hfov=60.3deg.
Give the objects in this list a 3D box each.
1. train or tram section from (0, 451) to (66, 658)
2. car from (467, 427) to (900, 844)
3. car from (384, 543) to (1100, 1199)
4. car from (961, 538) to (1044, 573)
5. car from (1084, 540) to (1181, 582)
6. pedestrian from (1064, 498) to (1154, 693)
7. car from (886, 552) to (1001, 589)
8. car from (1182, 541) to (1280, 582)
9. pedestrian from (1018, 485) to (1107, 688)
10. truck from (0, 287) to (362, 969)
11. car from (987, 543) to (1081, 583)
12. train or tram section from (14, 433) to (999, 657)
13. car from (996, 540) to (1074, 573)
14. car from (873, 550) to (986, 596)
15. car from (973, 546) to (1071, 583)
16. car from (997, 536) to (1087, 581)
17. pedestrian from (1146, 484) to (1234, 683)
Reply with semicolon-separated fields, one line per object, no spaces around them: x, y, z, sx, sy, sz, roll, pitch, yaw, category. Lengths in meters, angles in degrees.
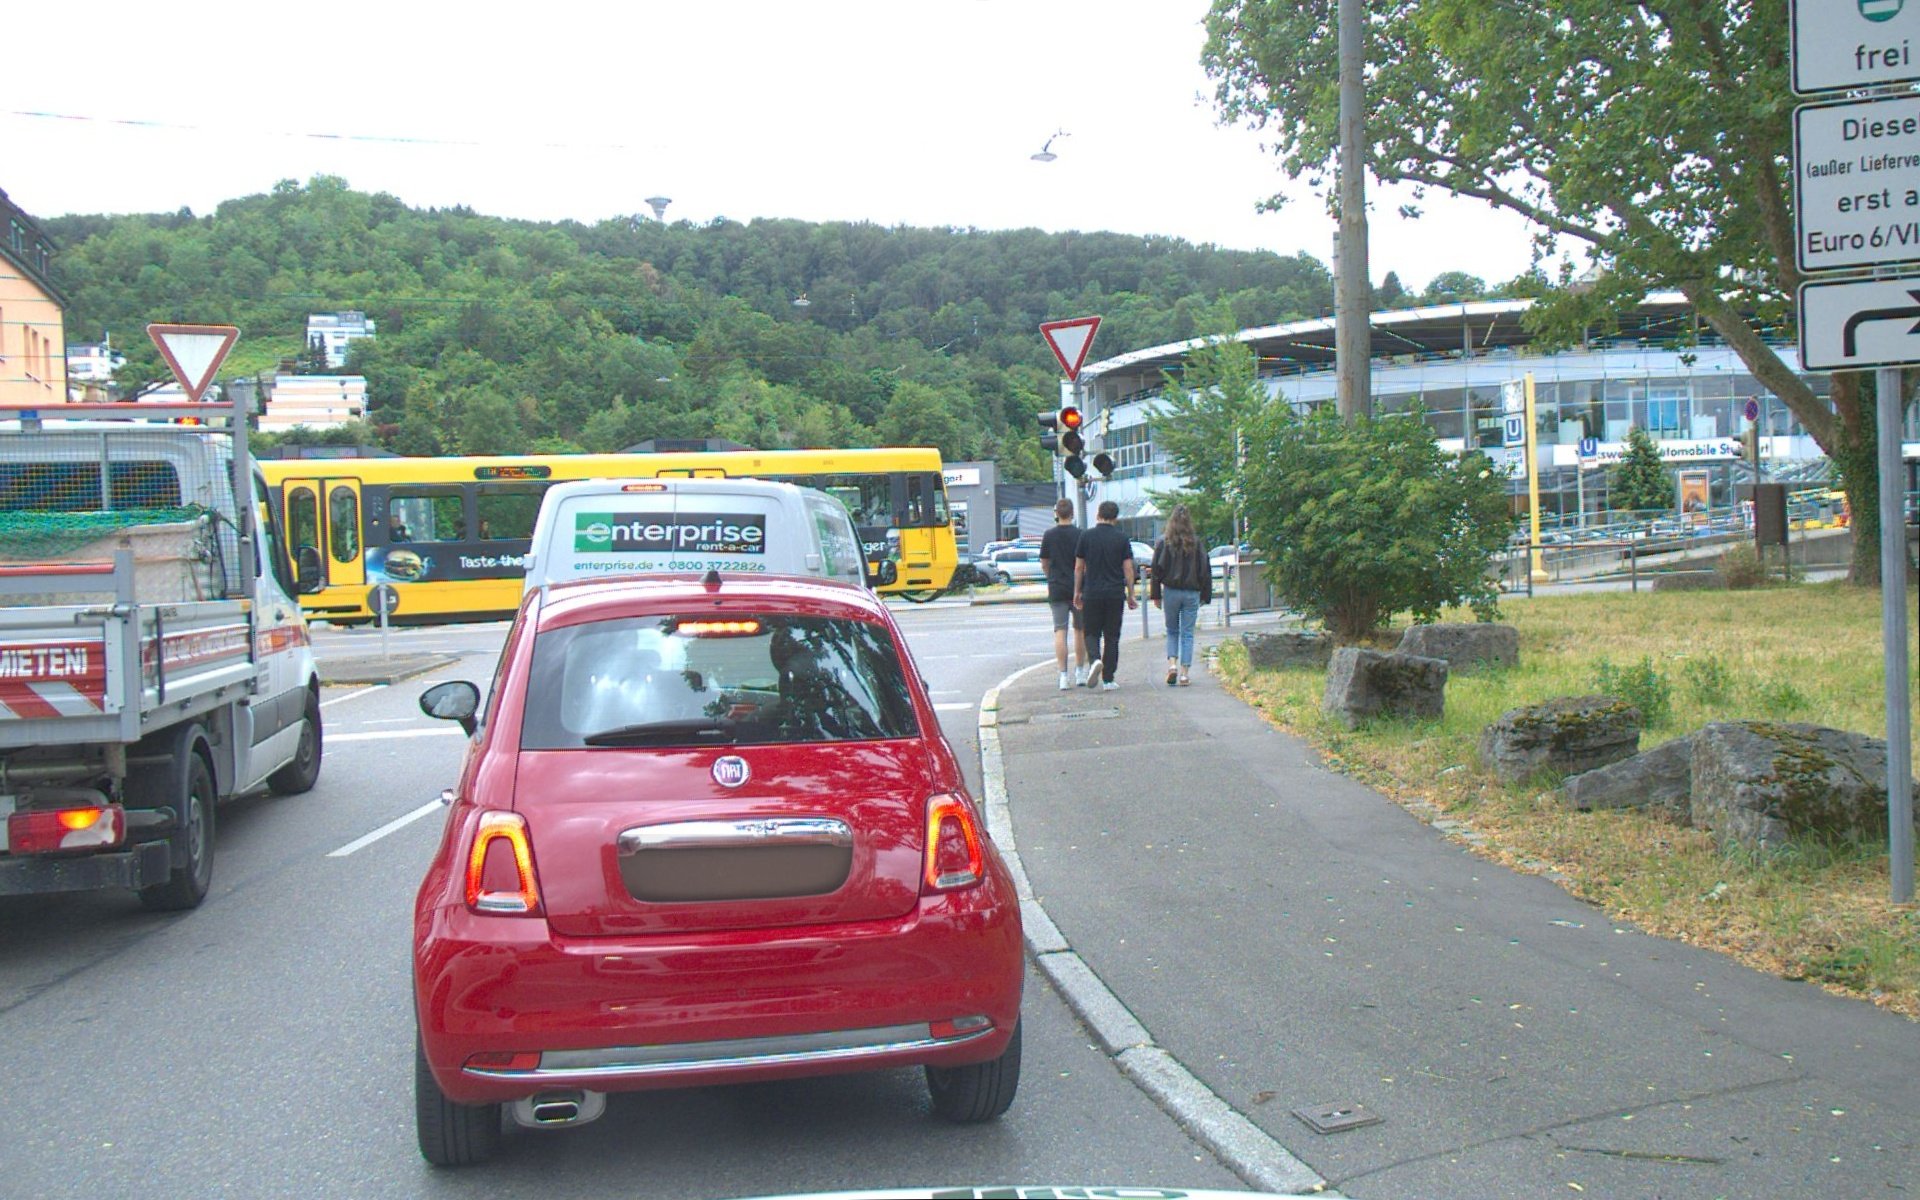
-26.539;-0.397;28.840;18.799;3.729;3.264;-3;1;-16;train or tram section
-1.567;0.133;11.258;1.948;2.143;4.763;-3;1;1;car
-0.801;0.604;5.511;1.610;1.482;3.421;-2;1;-12;car
2.473;-2.601;96.271;4.696;1.834;1.776;-2;1;2;car
6.759;-1.522;65.185;1.754;1.526;3.837;-3;2;-33;car
1.399;-0.054;15.418;0.678;1.744;0.789;-2;1;11;pedestrian
-0.692;-1.271;70.469;4.572;1.351;1.777;-2;1;13;car
10.957;-1.557;67.031;1.753;1.526;3.979;-3;2;-31;car
1.006;-0.137;16.038;0.678;1.889;0.789;-2;1;11;pedestrian
-4.813;0.102;8.676;2.381;2.439;6.008;-3;1;-14;truck
3.755;-1.902;84.523;4.696;1.834;1.776;-2;1;2;car
-8.590;-1.329;34.459;18.828;3.729;3.260;-3;2;-20;train or tram section
4.590;-2.675;101.200;4.696;1.834;1.776;-2;1;2;car
-1.133;-0.996;61.373;3.787;1.526;1.777;-2;1;16;car
3.062;-1.751;81.133;4.696;1.560;1.776;-2;1;2;car
4.420;-2.232;89.387;4.696;2.194;2.234;-2;1;2;car
2.152;-0.160;15.391;0.678;1.770;0.789;-2;1;12;pedestrian
